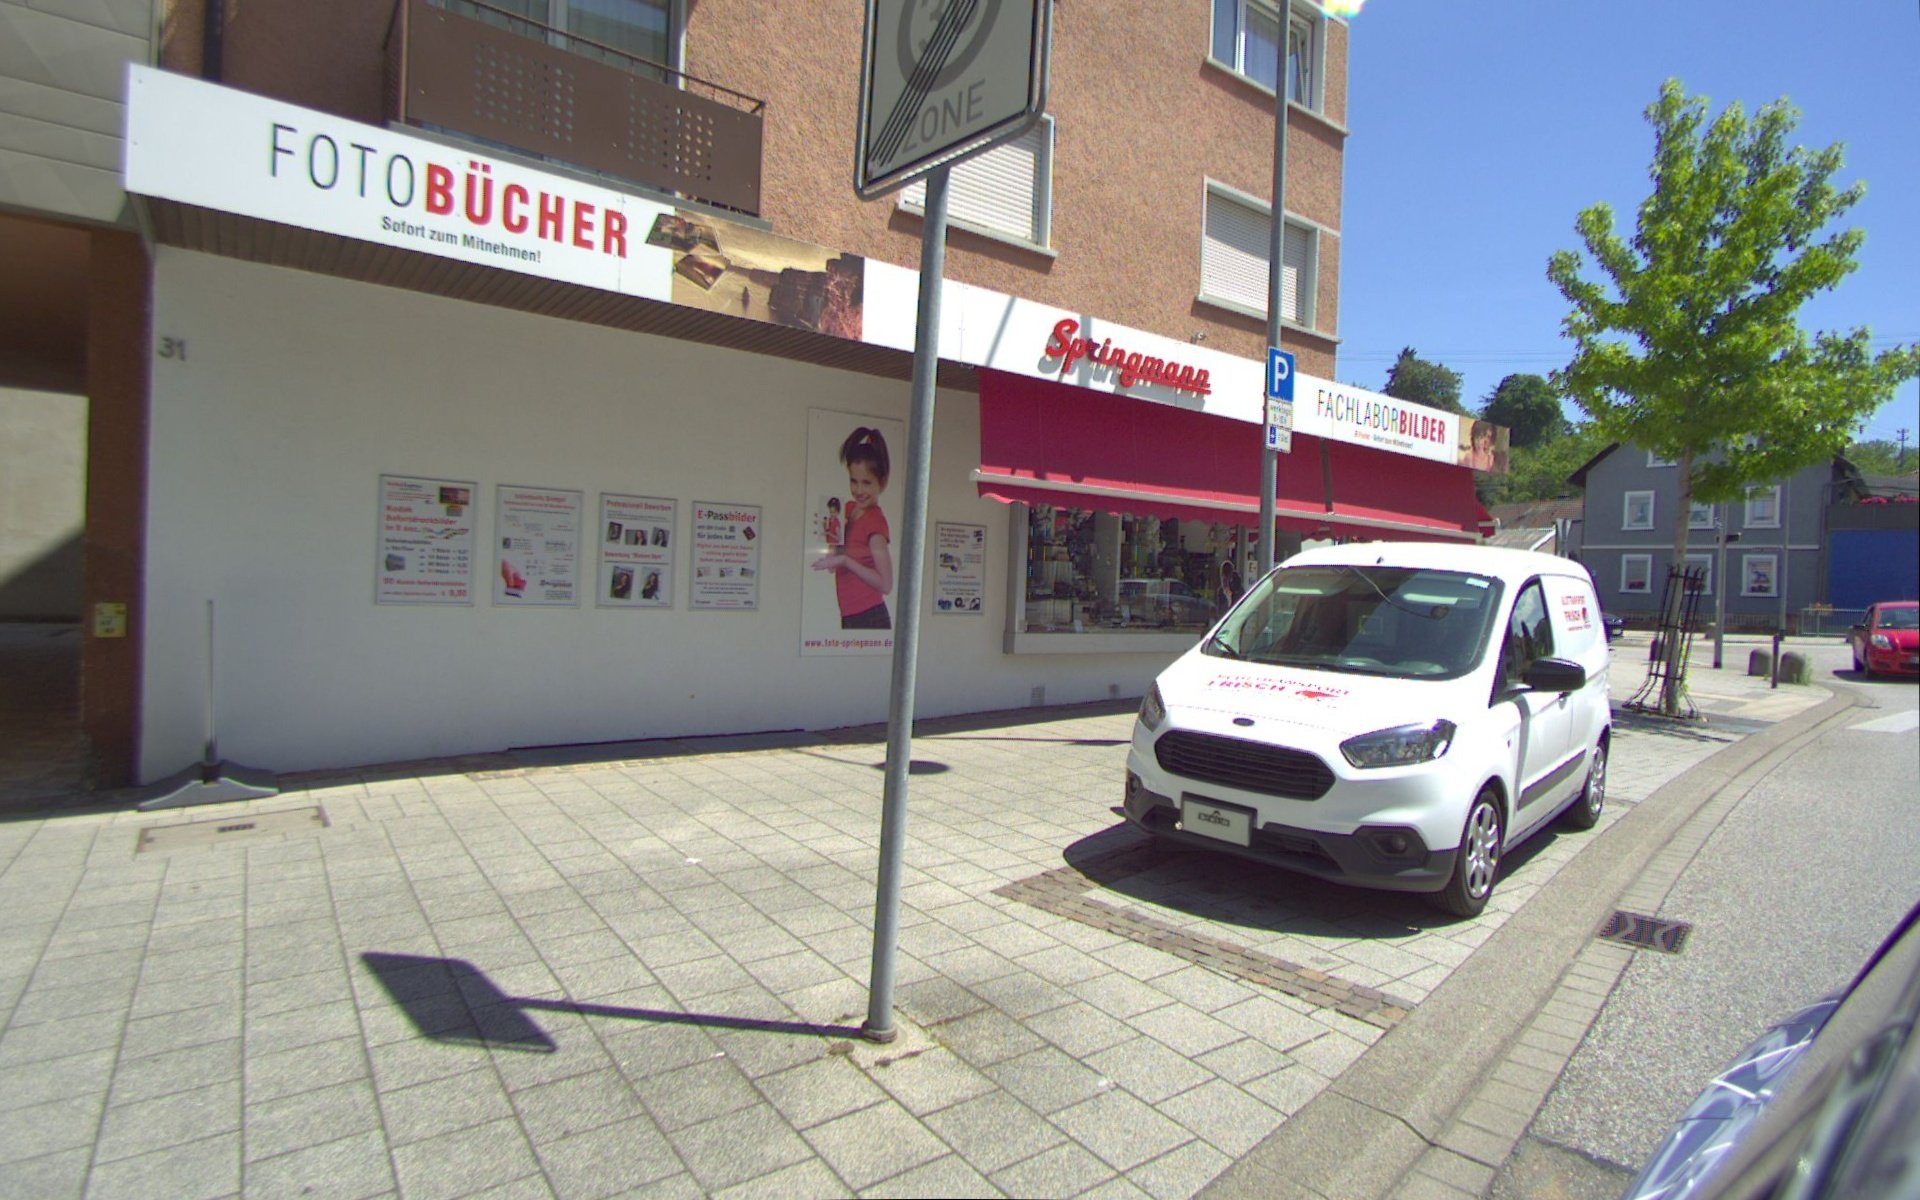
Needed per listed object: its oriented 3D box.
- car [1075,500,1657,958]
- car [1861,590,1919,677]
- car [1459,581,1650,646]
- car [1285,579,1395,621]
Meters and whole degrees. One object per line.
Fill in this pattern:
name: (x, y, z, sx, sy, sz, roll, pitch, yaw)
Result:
car: (2.562, 0.434, 5.844, 1.748, 1.745, 3.849, 5, 4, 43)
car: (19.629, 0.615, 20.485, 1.825, 1.552, 3.946, 1, 2, 38)
car: (17.664, 0.321, 30.266, 1.963, 1.709, 4.525, 0, 2, -37)
car: (17.038, -0.047, 45.454, 4.266, 1.603, 1.974, 2, 5, 39)
